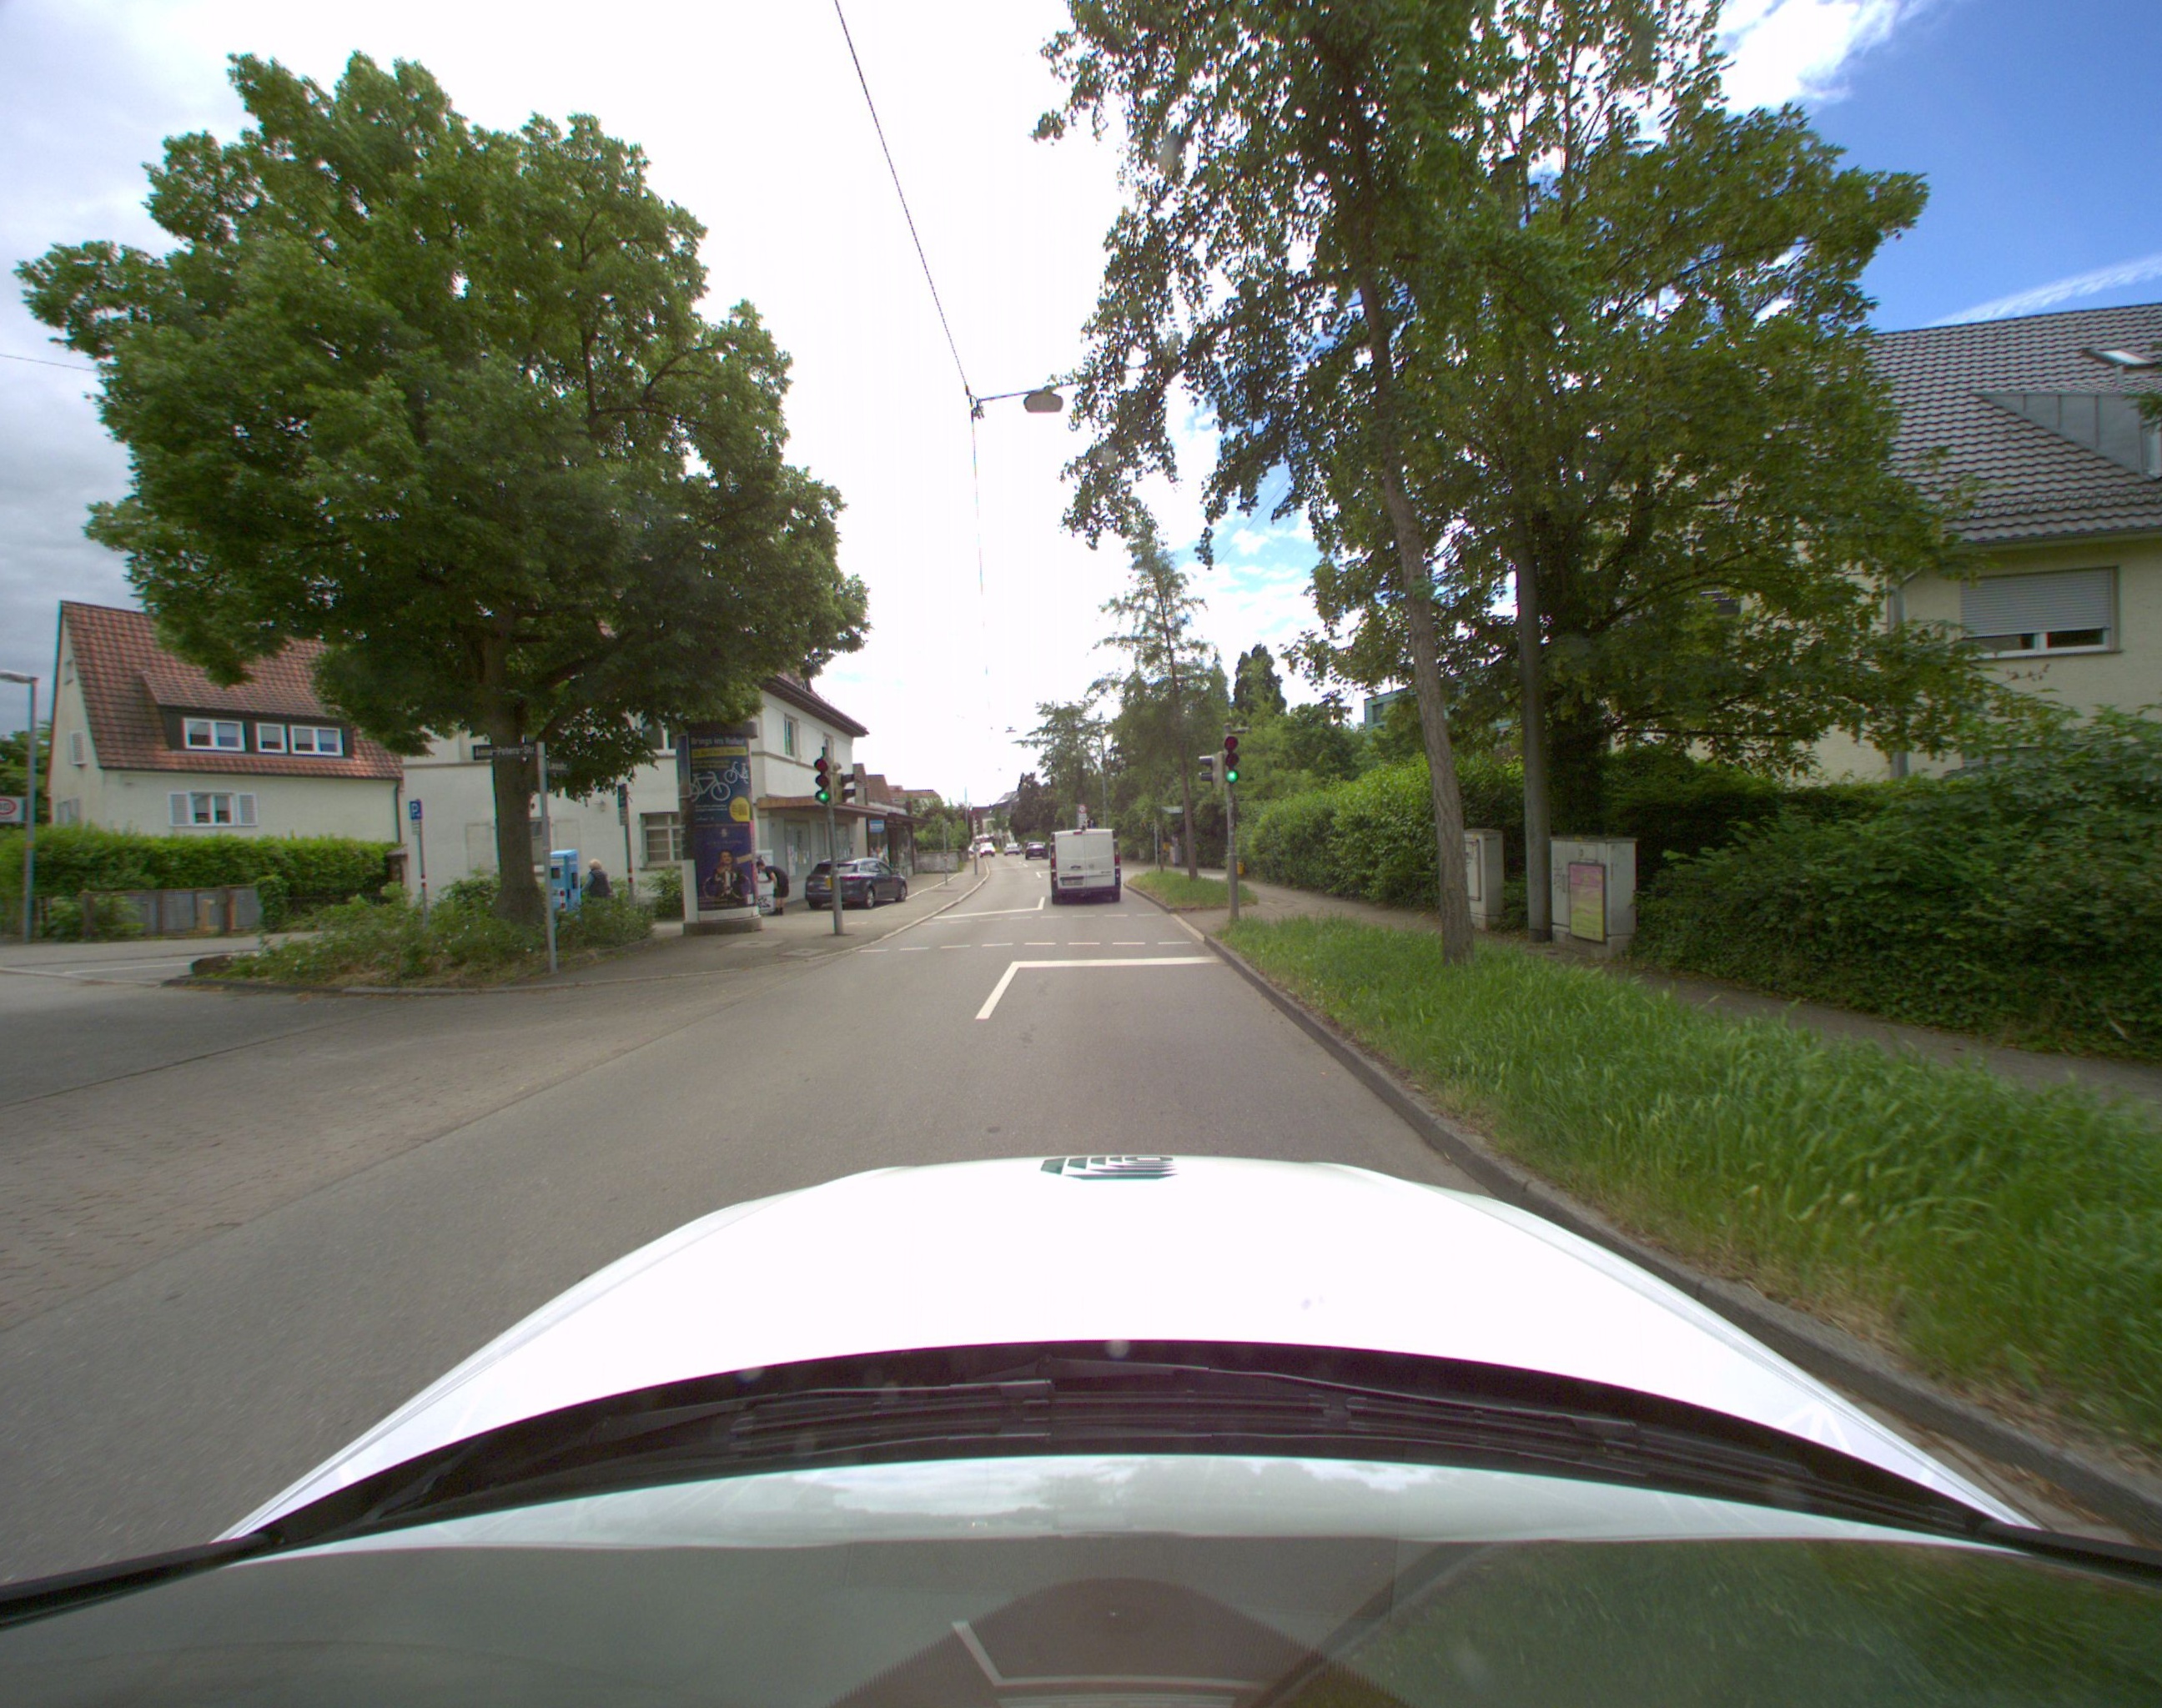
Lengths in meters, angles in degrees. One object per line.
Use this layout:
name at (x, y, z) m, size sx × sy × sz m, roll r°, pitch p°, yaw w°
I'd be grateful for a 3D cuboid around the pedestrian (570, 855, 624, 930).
pedestrian at (-10.866, 0.854, 18.306) m, size 0.694 × 1.616 × 0.716 m, roll -2°, pitch 1°, yaw 4°

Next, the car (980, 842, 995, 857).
car at (-12.919, -0.604, 112.487) m, size 1.866 × 1.911 × 5.103 m, roll -5°, pitch 2°, yaw -7°

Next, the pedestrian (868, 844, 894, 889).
pedestrian at (-8.092, 0.494, 32.918) m, size 0.881 × 1.750 × 0.961 m, roll -1°, pitch 0°, yaw -7°

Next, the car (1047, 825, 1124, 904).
car at (0.094, 0.247, 23.123) m, size 1.924 × 1.964 × 4.400 m, roll -2°, pitch 0°, yaw -1°

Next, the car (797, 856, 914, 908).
car at (-6.726, 0.789, 24.836) m, size 1.769 × 1.441 × 4.535 m, roll -1°, pitch 0°, yaw 8°

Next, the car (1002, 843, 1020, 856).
car at (-9.532, -0.627, 111.108) m, size 1.828 × 1.728 × 3.980 m, roll -2°, pitch 0°, yaw -14°

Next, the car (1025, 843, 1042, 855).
car at (-6.618, -0.668, 112.905) m, size 1.893 × 1.611 × 4.488 m, roll -2°, pitch 0°, yaw -8°

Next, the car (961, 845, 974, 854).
car at (-20.431, -0.786, 146.534) m, size 1.885 × 1.512 × 4.096 m, roll -4°, pitch 1°, yaw -12°

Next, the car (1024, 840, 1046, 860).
car at (-4.332, -0.390, 77.427) m, size 1.892 × 1.859 × 4.401 m, roll -2°, pitch 0°, yaw -2°

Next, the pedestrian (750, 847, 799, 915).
pedestrian at (-7.960, 0.698, 21.195) m, size 0.880 × 1.718 × 0.764 m, roll 0°, pitch 1°, yaw 14°
